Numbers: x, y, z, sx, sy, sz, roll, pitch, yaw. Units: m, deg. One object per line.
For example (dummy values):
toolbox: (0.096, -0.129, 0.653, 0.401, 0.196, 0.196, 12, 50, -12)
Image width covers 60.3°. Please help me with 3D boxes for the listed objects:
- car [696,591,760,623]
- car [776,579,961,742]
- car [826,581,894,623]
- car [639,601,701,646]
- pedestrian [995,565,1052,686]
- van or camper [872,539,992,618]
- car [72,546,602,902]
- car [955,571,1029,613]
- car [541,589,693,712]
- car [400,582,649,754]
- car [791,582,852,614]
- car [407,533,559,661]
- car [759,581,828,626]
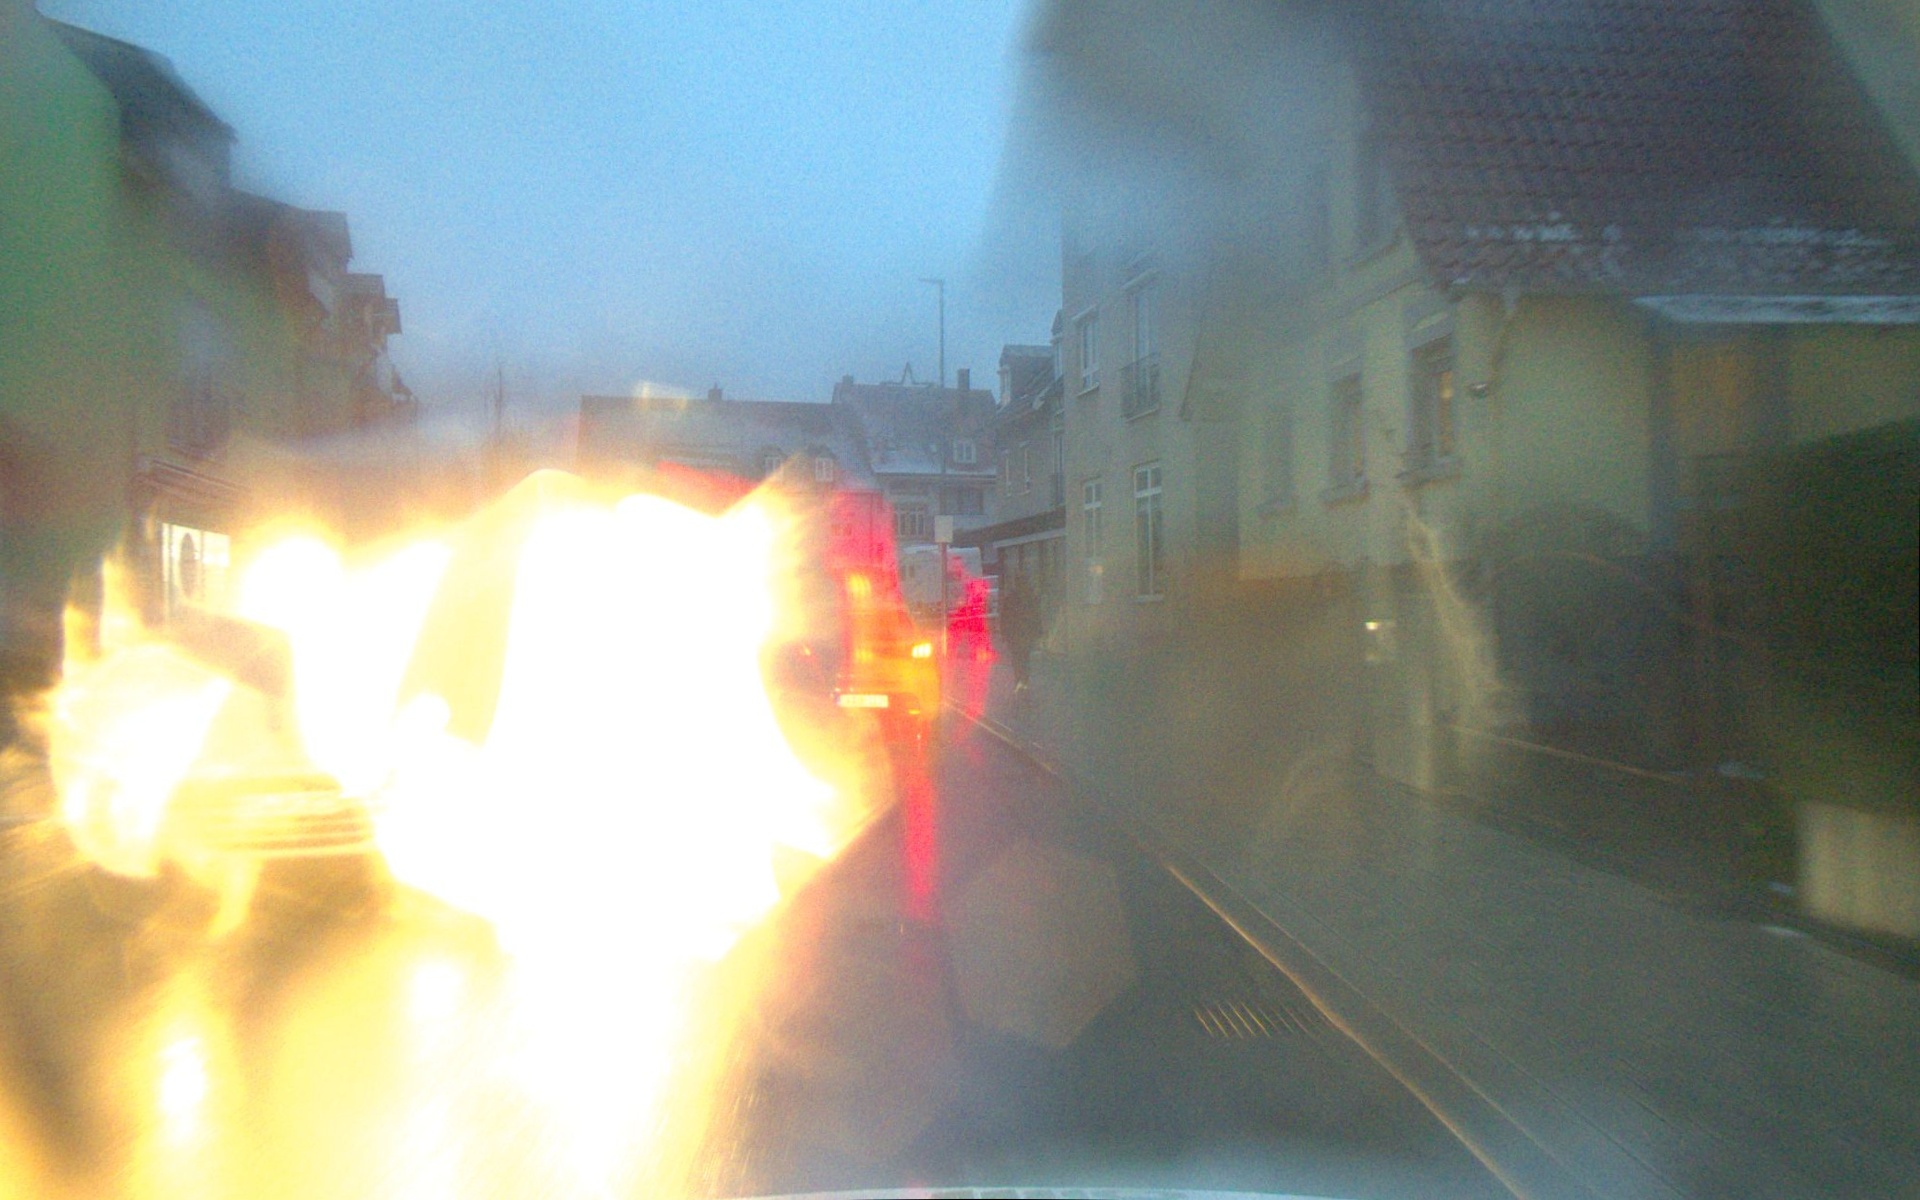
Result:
car: (-11.090, 0.304, 78.781, 1.867, 1.488, 3.597, 0, 1, -30)
car: (-1.054, 0.597, 18.059, 1.779, 1.560, 3.996, 1, 0, -5)
car: (-4.298, 0.094, 70.671, 1.962, 1.639, 4.155, -2, -1, -16)
car: (-10.938, 0.870, 62.257, 1.960, 1.616, 3.984, 1, 0, -15)
pedestrian: (0.943, 0.366, 24.611, 0.730, 1.759, 0.872, 0, 1, -6)
van or camper: (-1.290, -0.897, 71.598, 2.618, 3.100, 6.681, -4, 1, -25)
car: (-3.442, 0.516, 10.134, 1.914, 1.573, 4.411, -2, 3, -6)
car: (1.355, -0.338, 71.501, 1.763, 1.580, 3.976, -6, 2, -20)
car: (-5.019, 0.643, 23.948, 1.959, 1.583, 4.243, 0, 1, -13)
car: (-4.467, 0.650, 17.592, 1.821, 1.583, 4.253, 0, -1, -5)
car: (-6.942, -0.103, 82.331, 1.797, 1.487, 4.520, -2, 1, -21)
car: (-10.675, -0.016, 37.584, 2.440, 2.605, 6.746, 1, -1, -9)
car: (-7.083, 0.135, 70.174, 1.963, 1.795, 4.327, -2, 1, -19)
